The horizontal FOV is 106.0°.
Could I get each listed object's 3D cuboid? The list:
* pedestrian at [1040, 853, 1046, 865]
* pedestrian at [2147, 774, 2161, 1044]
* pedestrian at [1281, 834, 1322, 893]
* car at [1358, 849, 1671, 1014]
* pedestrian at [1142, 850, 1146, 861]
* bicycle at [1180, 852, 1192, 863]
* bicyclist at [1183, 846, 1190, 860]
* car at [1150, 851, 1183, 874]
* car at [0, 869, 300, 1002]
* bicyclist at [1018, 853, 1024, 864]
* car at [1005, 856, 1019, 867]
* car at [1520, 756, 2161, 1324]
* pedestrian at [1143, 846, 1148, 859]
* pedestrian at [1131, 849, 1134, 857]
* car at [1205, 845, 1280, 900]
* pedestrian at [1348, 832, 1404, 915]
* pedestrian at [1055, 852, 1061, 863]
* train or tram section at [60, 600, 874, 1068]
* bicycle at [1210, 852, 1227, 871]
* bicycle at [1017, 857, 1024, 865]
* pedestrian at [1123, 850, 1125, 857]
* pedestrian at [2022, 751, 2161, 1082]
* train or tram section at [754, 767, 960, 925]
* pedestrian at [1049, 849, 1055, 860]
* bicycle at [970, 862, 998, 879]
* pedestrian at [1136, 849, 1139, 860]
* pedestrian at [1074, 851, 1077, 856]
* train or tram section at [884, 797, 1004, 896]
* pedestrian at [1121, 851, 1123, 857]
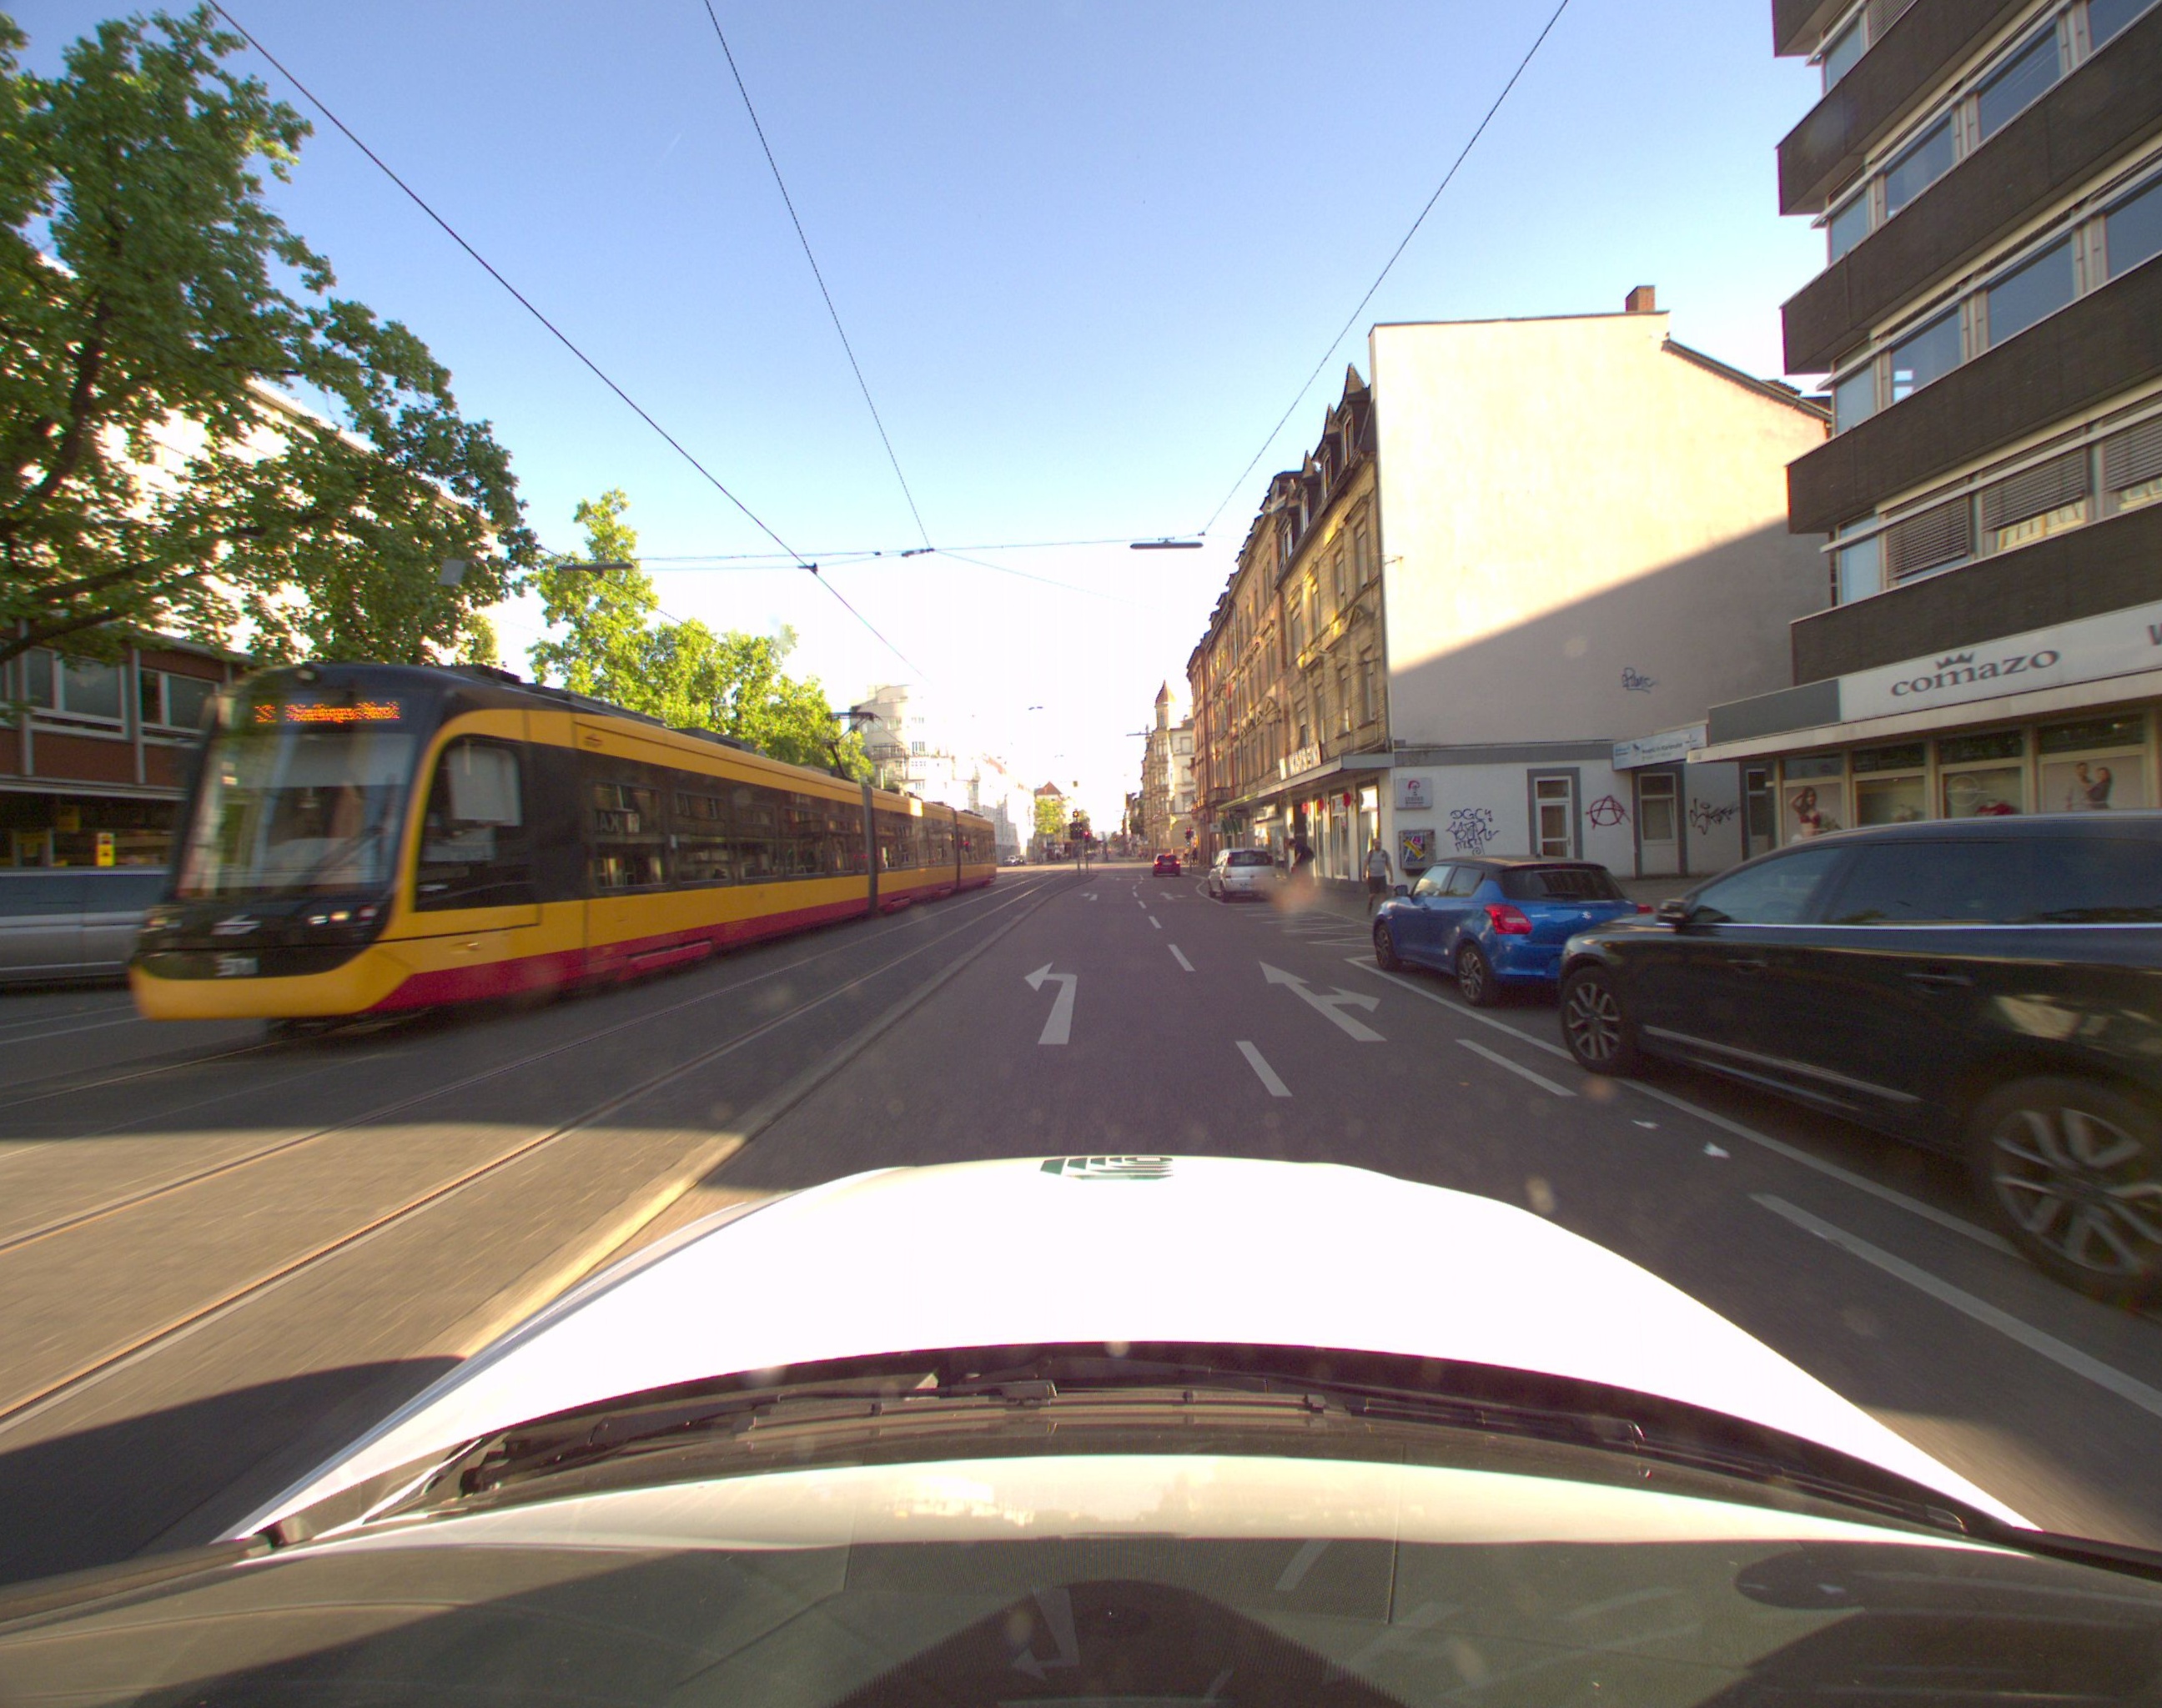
[{"bbox_3d":[-5.657,0.762,120.745,0.765,1.730,0.573,-2,0,4],"label":"pedestrian"},{"bbox_3d":[7.398,0.345,4.800,0.808,1.756,1.033,-3,0,1],"label":"pedestrian"},{"bbox_3d":[6.945,0.297,25.717,0.943,1.792,1.055,-3,0,1],"label":"pedestrian"},{"bbox_3d":[4.642,0.701,9.409,1.632,1.492,3.795,0,1,0],"label":"car"},{"bbox_3d":[11.674,0.204,151.804,0.643,2.013,0.683,-2,0,2],"label":"pedestrian"},{"bbox_3d":[10.562,0.372,81.900,0.417,1.096,1.422,-3,0,37],"label":"bicycle"},{"bbox_3d":[10.606,-0.066,81.989,0.417,1.409,0.663,-3,0,37],"label":"bicyclist"},{"bbox_3d":[5.456,0.521,52.579,1.748,1.466,3.945,0,0,0],"label":"car"},{"bbox_3d":[-16.107,1.222,12.845,5.137,1.929,1.836,0,-1,-30],"label":"car"},{"bbox_3d":[-9.194,0.676,124.790,0.804,1.726,0.795,-2,0,2],"label":"bicyclist"},{"bbox_3d":[-10.876,1.186,128.193,1.758,1.546,3.464,-2,0,3],"label":"car"},{"bbox_3d":[4.287,0.564,4.123,1.814,1.757,4.477,-1,0,2],"label":"car"},{"bbox_3d":[10.060,-0.216,126.817,0.649,2.013,0.760,-2,0,1],"label":"pedestrian"},{"bbox_3d":[13.118,-0.374,206.749,0.575,2.013,0.631,-2,0,3],"label":"pedestrian"},{"bbox_3d":[5.069,0.551,26.083,1.632,1.615,3.945,-1,0,0],"label":"car"},{"bbox_3d":[6.515,0.428,18.039,0.784,1.737,0.946,-5,-1,1],"label":"pedestrian"},{"bbox_3d":[-4.411,0.597,155.225,1.042,2.013,0.959,-2,0,0],"label":"pedestrian"},{"bbox_3d":[-6.407,-0.130,12.615,2.748,3.551,12.472,-2,0,2],"label":"train or tram section"},{"bbox_3d":[9.084,0.495,53.787,0.709,1.152,1.663,-4,0,21],"label":"bicycle"},{"bbox_3d":[-9.185,1.107,124.597,0.804,1.147,2.051,-2,0,2],"label":"bicycle"},{"bbox_3d":[12.739,-0.211,240.528,0.575,1.887,0.631,-2,0,3],"label":"pedestrian"},{"bbox_3d":[6.569,0.345,4.796,0.791,1.899,1.033,-3,0,1],"label":"pedestrian"},{"bbox_3d":[-6.035,-0.155,24.457,2.666,3.551,11.130,-2,0,2],"label":"train or tram section"},{"bbox_3d":[-5.307,0.121,148.485,0.952,2.013,1.049,-2,0,2],"label":"pedestrian"},{"bbox_3d":[-7.357,1.245,61.777,2.019,1.177,0.626,-1,-1,-12],"label":"bicycle"},{"bbox_3d":[11.404,0.093,164.509,0.574,2.013,0.632,-2,0,8],"label":"pedestrian"},{"bbox_3d":[-1.571,-0.117,244.783,0.630,1.604,0.576,-2,0,-15],"label":"pedestrian"},{"bbox_3d":[-5.675,-0.259,36.448,2.666,3.551,12.846,-2,0,2],"label":"train or tram section"},{"bbox_3d":[12.659,-0.108,250.741,0.575,1.887,0.670,-2,0,2],"label":"pedestrian"}]
